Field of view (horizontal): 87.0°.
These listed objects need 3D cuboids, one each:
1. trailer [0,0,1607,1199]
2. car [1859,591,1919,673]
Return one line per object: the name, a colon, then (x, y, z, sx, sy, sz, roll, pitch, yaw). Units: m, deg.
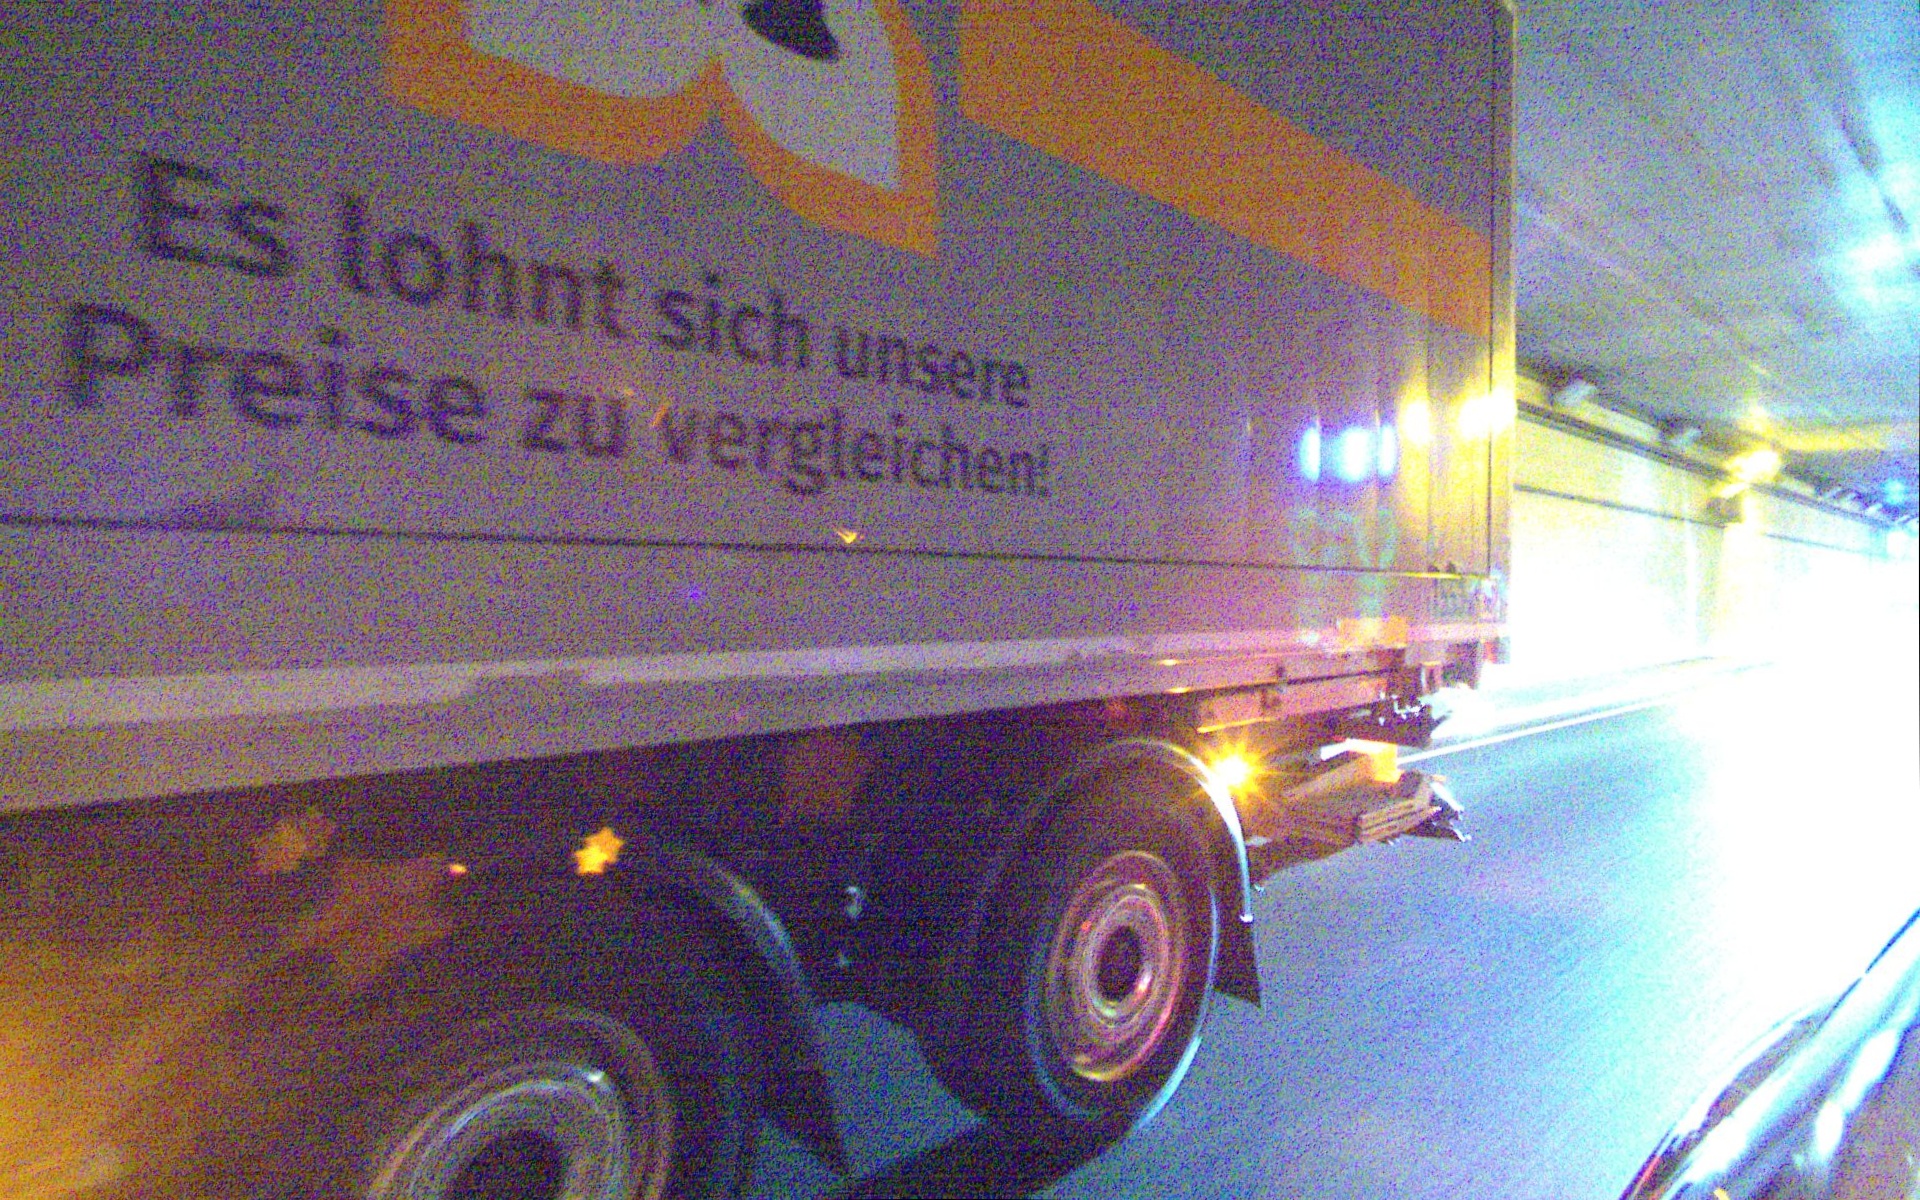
trailer: (-1.564, -0.599, 2.443, 8.791, 3.907, 2.880, 0, 1, -41)
car: (18.553, 0.559, 19.236, 3.733, 1.420, 1.733, -1, 1, -41)
